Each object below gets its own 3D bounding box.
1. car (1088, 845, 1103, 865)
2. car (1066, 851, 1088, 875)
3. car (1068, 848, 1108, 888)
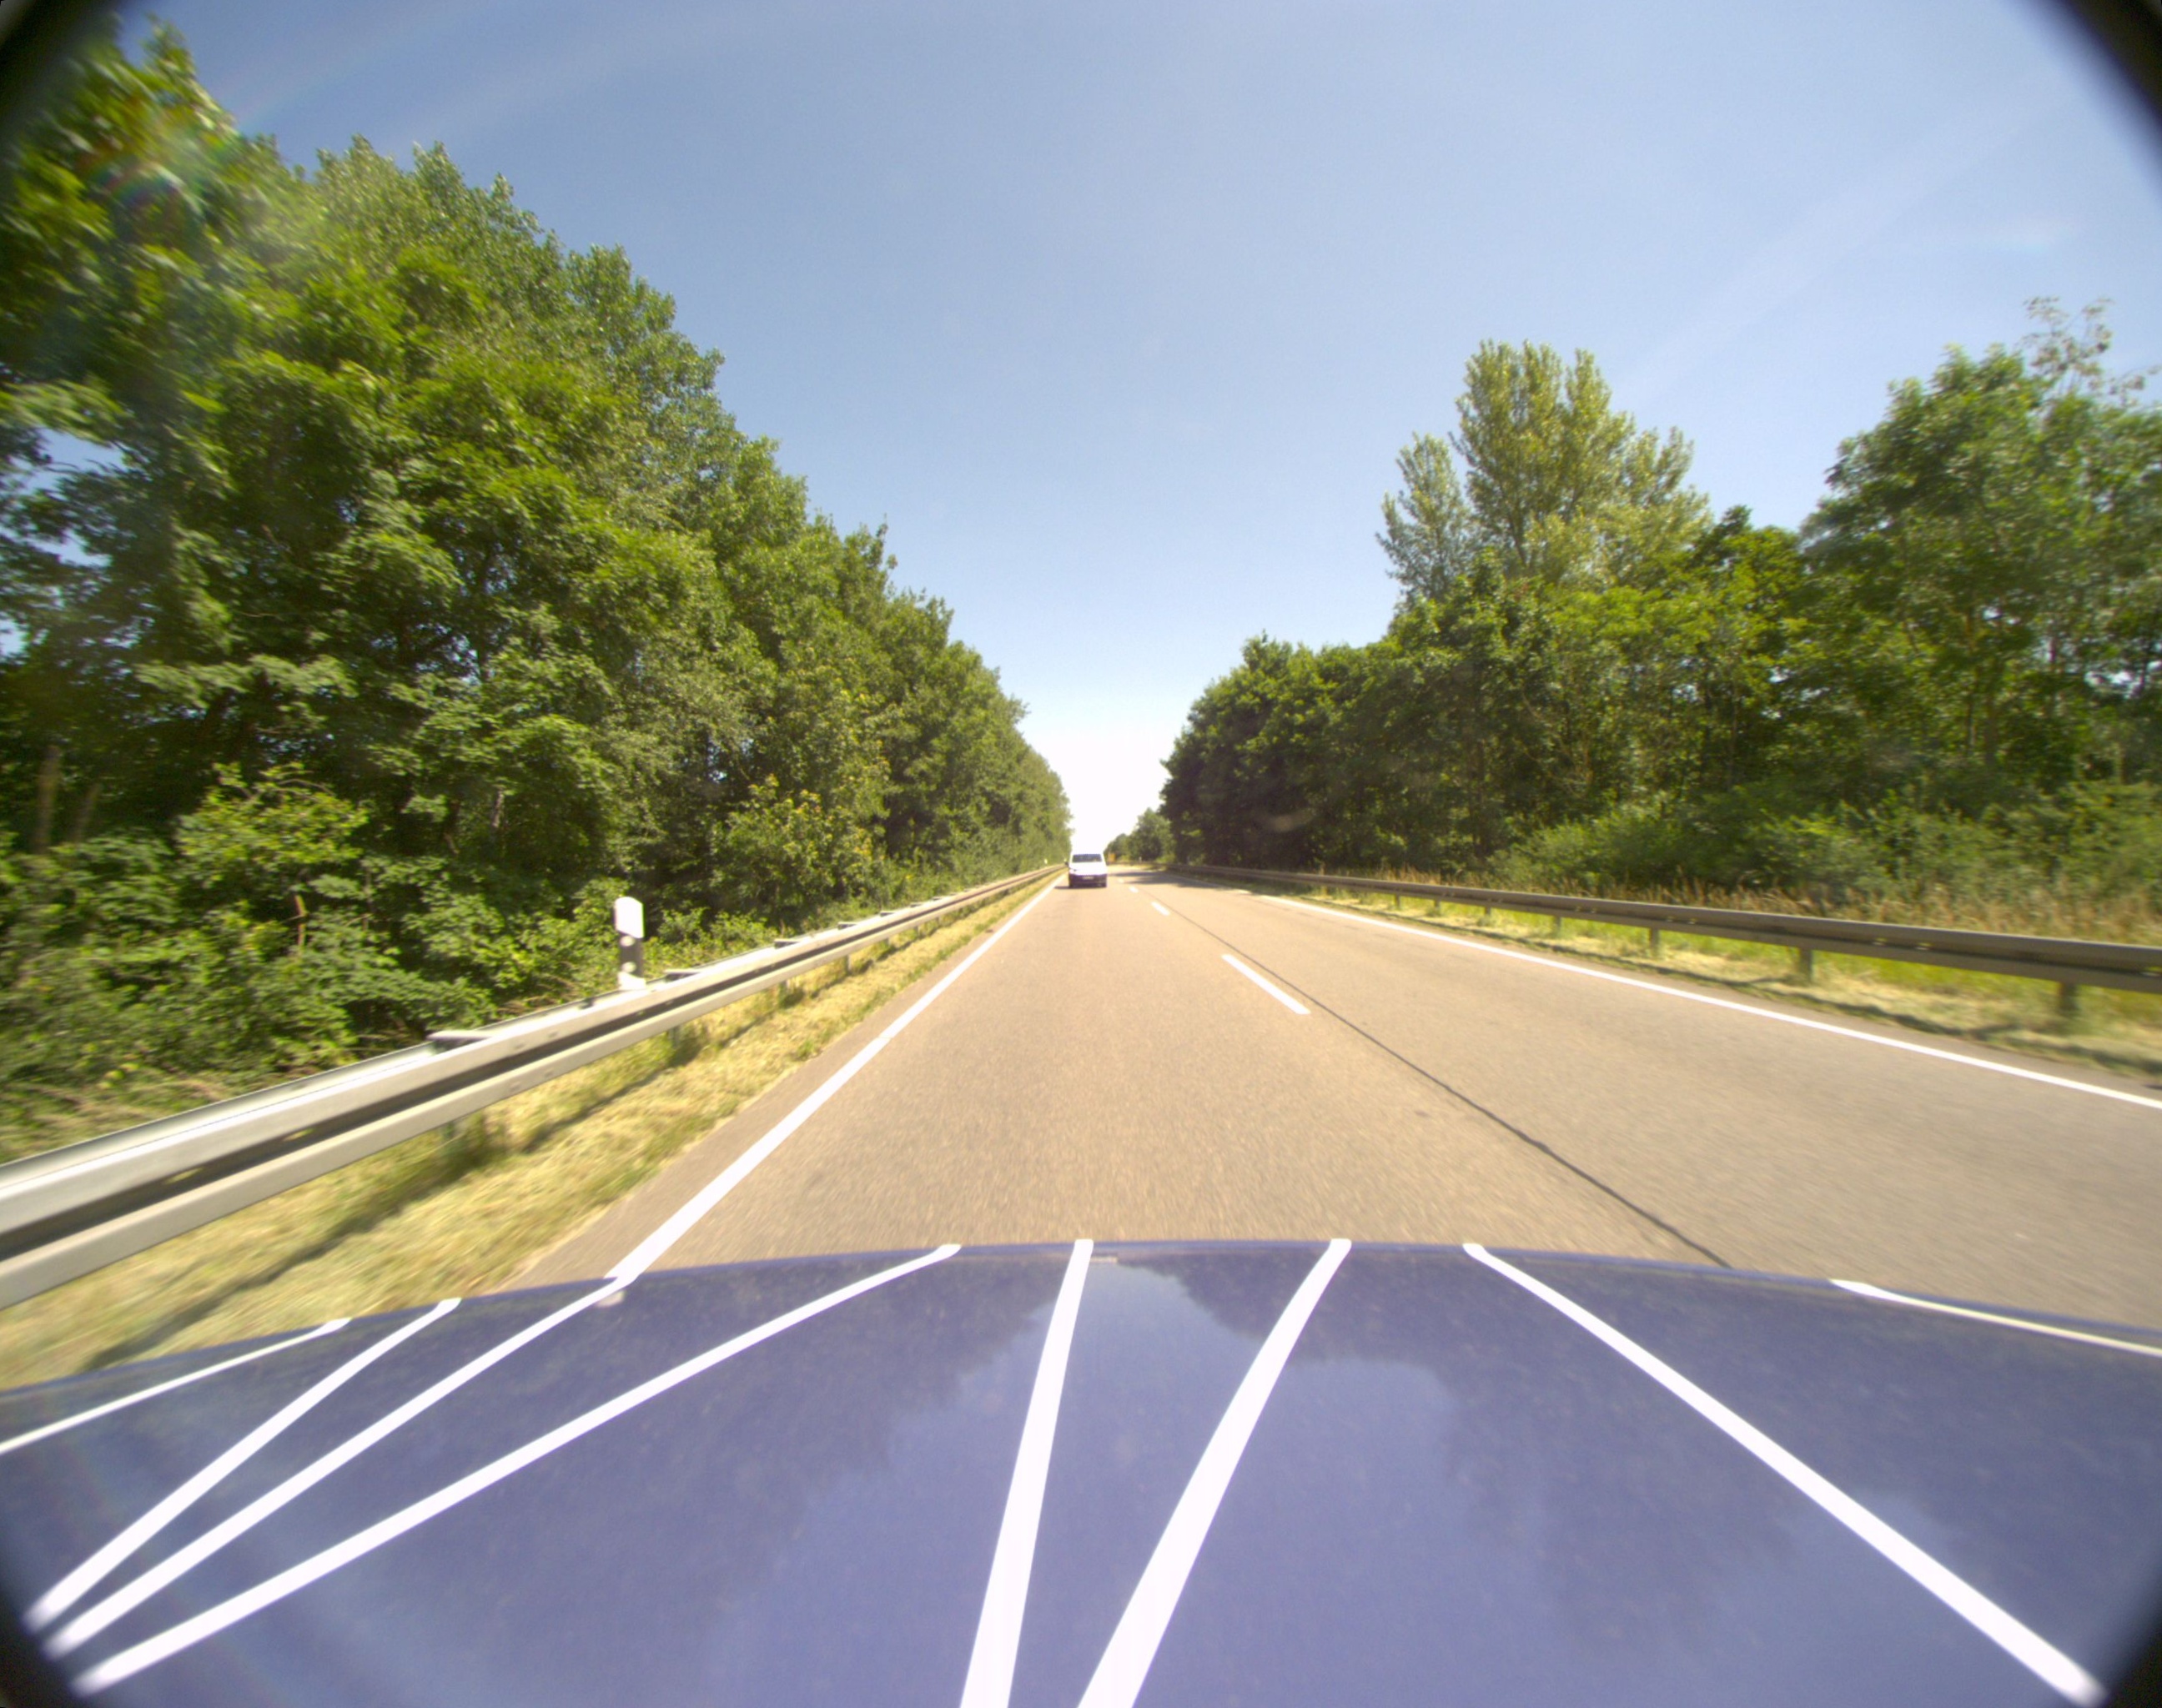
[{"bbox_3d":[1.784,0.177,92.828,1.782,2.287,4.106,-2,-1,1],"label":"car"},{"bbox_3d":[-0.305,0.788,66.894,1.782,1.960,4.106,-2,-1,1],"label":"car"},{"bbox_3d":[0.359,0.656,36.896,1.782,1.743,4.513,-2,-1,1],"label":"car"}]
